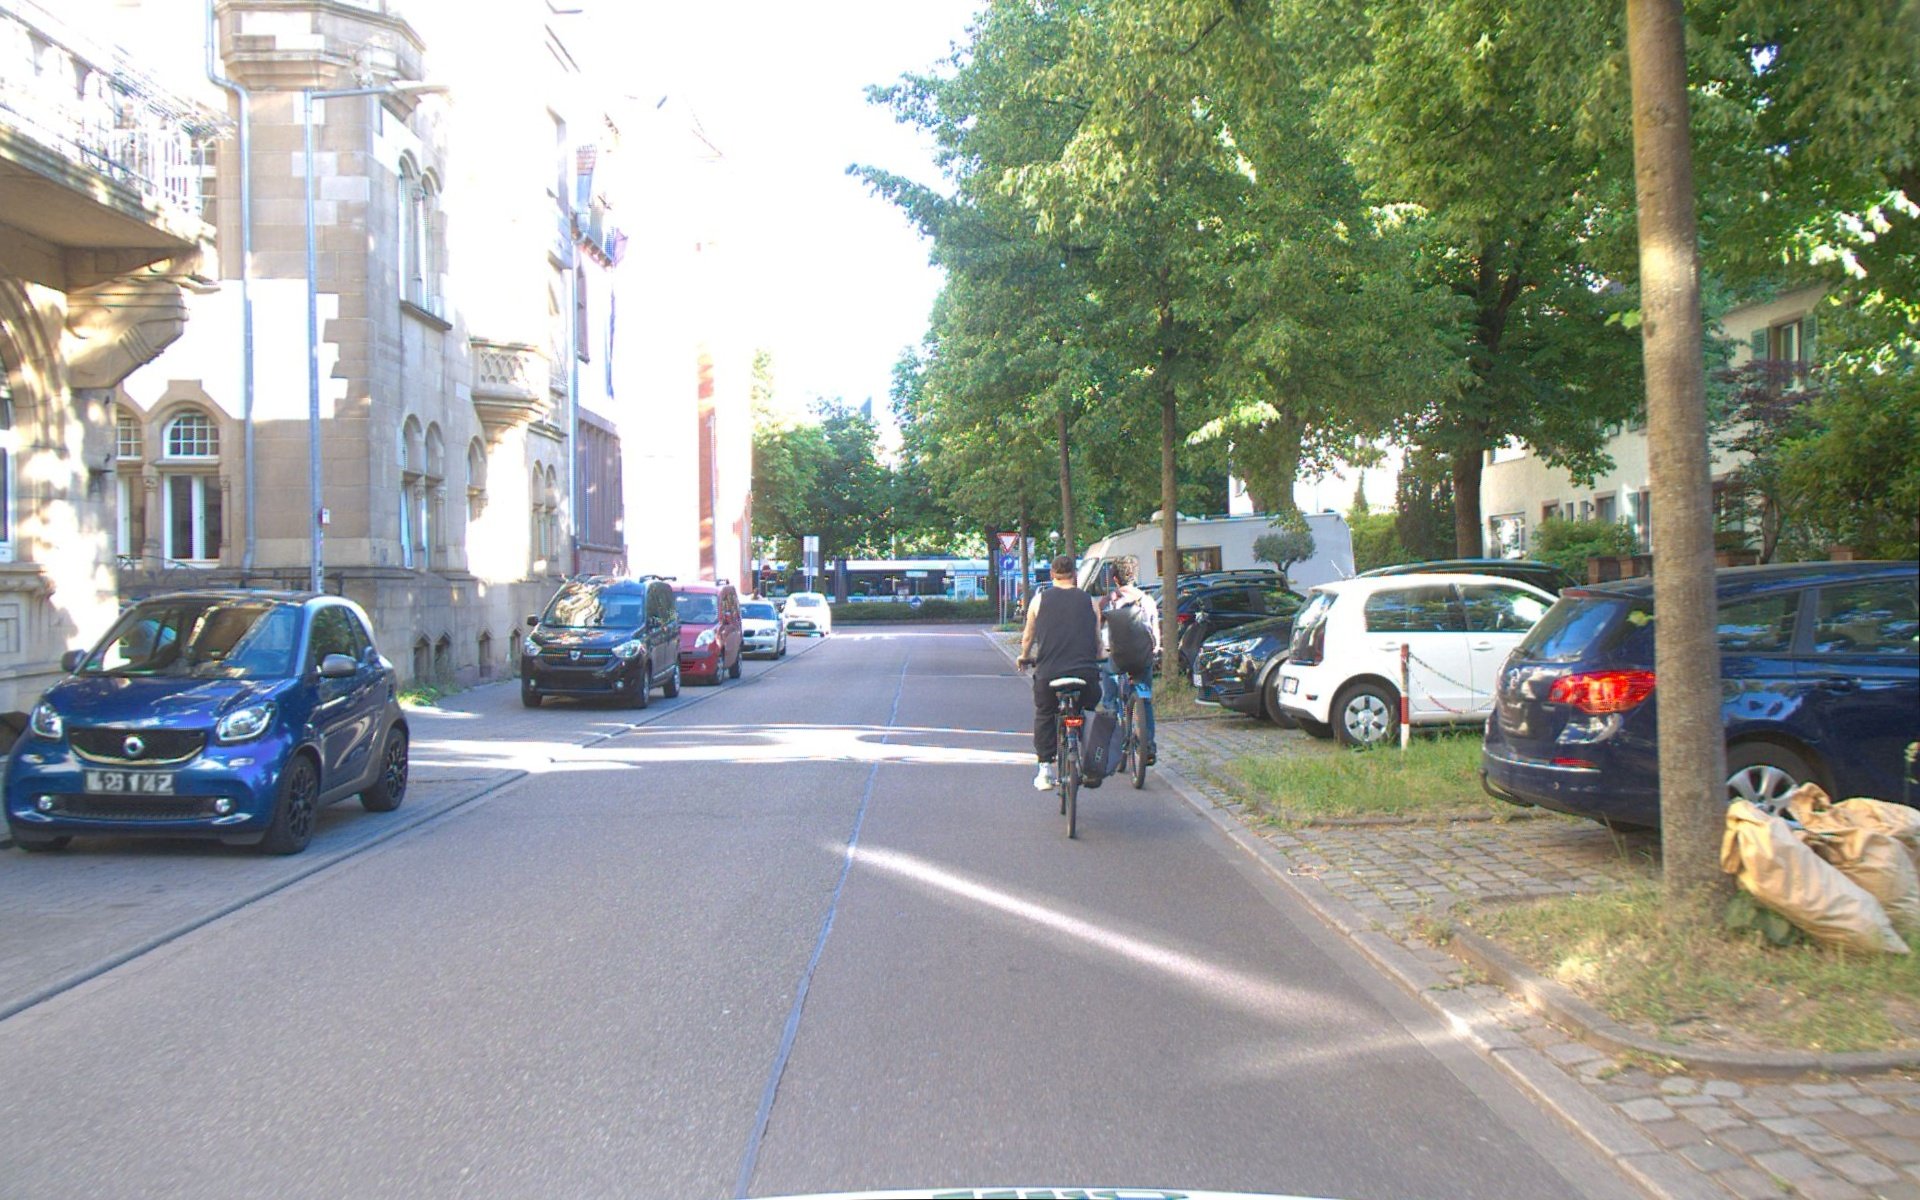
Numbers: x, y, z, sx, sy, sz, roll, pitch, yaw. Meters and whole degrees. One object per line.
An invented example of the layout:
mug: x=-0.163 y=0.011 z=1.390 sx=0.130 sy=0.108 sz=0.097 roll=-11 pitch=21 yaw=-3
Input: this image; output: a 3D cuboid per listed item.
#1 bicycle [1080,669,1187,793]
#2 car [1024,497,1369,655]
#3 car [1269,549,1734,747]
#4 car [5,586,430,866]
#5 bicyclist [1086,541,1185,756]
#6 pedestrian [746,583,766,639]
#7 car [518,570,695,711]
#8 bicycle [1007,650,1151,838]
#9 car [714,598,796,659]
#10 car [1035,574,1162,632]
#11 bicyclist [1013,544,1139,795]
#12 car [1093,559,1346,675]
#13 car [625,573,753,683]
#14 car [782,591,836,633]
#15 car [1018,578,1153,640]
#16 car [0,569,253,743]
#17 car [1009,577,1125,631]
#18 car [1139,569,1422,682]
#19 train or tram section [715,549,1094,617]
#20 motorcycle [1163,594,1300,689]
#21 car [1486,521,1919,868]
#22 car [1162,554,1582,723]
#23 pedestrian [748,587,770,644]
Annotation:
bicycle: x=1.363 y=1.021 z=13.304 sx=0.620 sy=0.813 sz=1.832 roll=-1 pitch=1 yaw=-1
car: x=5.069 y=-0.521 z=36.149 sx=7.006 sy=3.030 sz=2.462 roll=-3 pitch=0 yaw=-4
car: x=4.846 y=0.422 z=15.172 sx=3.695 sy=1.627 sz=1.691 roll=-1 pitch=0 yaw=1
car: x=-4.672 y=0.709 z=10.803 sx=1.564 sy=1.515 sz=2.735 roll=3 pitch=1 yaw=-3
bicyclist: x=1.391 y=0.375 z=13.271 sx=0.675 sy=1.655 sz=0.998 roll=0 pitch=0 yaw=-1
pedestrian: x=-6.567 y=0.349 z=53.256 sx=0.596 sy=1.793 sz=0.432 roll=0 pitch=-1 yaw=-1
car: x=-4.982 y=0.499 z=23.853 sx=1.607 sy=1.814 sz=4.354 roll=1 pitch=1 yaw=0
bicycle: x=0.740 y=0.890 z=10.878 sx=0.722 sy=1.072 sz=1.955 roll=1 pitch=-1 yaw=-2
car: x=-5.095 y=0.686 z=41.573 sx=1.551 sy=1.367 sz=4.131 roll=1 pitch=1 yaw=0
car: x=4.511 y=0.114 z=54.241 sx=3.908 sy=1.835 sz=1.833 roll=1 pitch=-1 yaw=-3
bicyclist: x=0.748 y=0.445 z=10.905 sx=0.715 sy=1.575 sz=0.884 roll=1 pitch=-1 yaw=-2
car: x=4.449 y=0.287 z=28.723 sx=4.002 sy=1.678 sz=1.640 roll=-4 pitch=0 yaw=-3
car: x=-4.950 y=0.460 z=30.721 sx=1.654 sy=1.857 sz=4.272 roll=1 pitch=1 yaw=0
car: x=-5.383 y=0.398 z=59.235 sx=1.551 sy=1.399 sz=4.131 roll=1 pitch=1 yaw=0
car: x=3.806 y=0.284 z=50.472 sx=3.908 sy=1.835 sz=1.833 roll=1 pitch=-1 yaw=-3
car: x=-9.703 y=0.545 z=17.014 sx=4.114 sy=1.697 sz=1.718 roll=0 pitch=0 yaw=-3
car: x=3.740 y=0.132 z=58.358 sx=3.908 sy=1.835 sz=1.833 roll=1 pitch=-1 yaw=-3
car: x=5.001 y=0.403 z=26.138 sx=4.057 sy=1.628 sz=1.701 roll=-1 pitch=-2 yaw=-4
train or tram section: x=-3.095 y=-0.919 z=101.724 sx=23.486 sy=3.773 sz=4.255 roll=1 pitch=-1 yaw=-24
motorcycle: x=3.459 y=0.524 z=21.097 sx=1.574 sy=1.161 sz=0.671 roll=-1 pitch=0 yaw=32
car: x=5.149 y=0.442 z=8.794 sx=4.136 sy=1.628 sz=1.691 roll=-1 pitch=-2 yaw=0
car: x=4.302 y=0.417 z=17.739 sx=4.053 sy=1.628 sz=1.702 roll=-1 pitch=-2 yaw=0
pedestrian: x=-6.073 y=0.456 z=49.916 sx=0.596 sy=1.708 sz=0.518 roll=0 pitch=-1 yaw=-1
